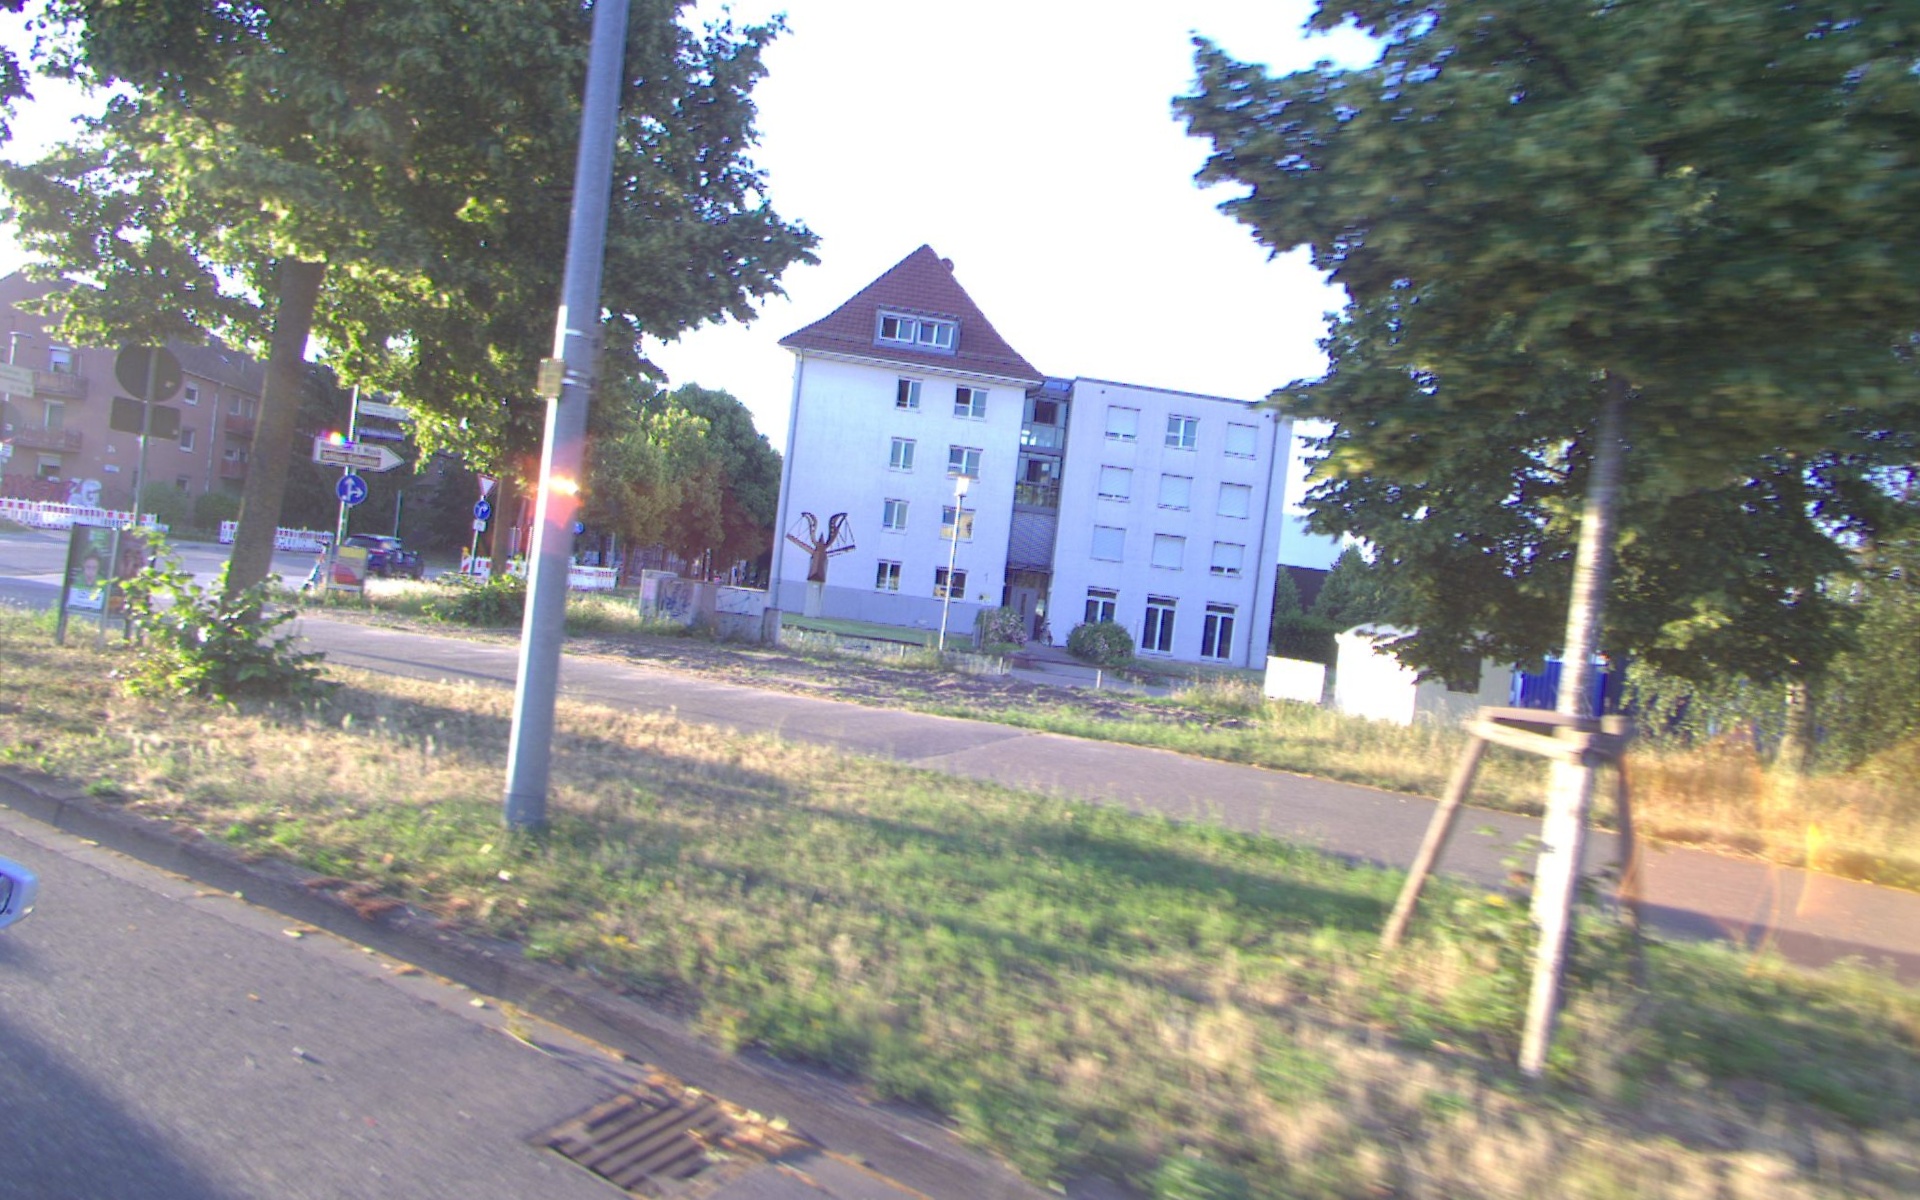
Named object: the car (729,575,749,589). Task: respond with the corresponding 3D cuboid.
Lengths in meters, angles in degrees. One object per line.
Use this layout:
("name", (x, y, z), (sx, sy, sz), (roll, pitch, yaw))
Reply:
("car", (-31.028, -2.544, 141.269), (1.923, 1.621, 4.075), (8, -1, -4))

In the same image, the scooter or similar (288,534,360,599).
("scooter or similar", (-13.700, -0.704, 21.681), (0.435, 1.254, 1.121), (7, 0, 34))

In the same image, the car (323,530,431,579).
("car", (-23.547, -1.799, 40.810), (1.922, 1.622, 4.074), (8, 1, -2))

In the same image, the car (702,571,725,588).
("car", (-28.866, -2.407, 118.021), (1.923, 1.621, 4.073), (8, -1, -6))
